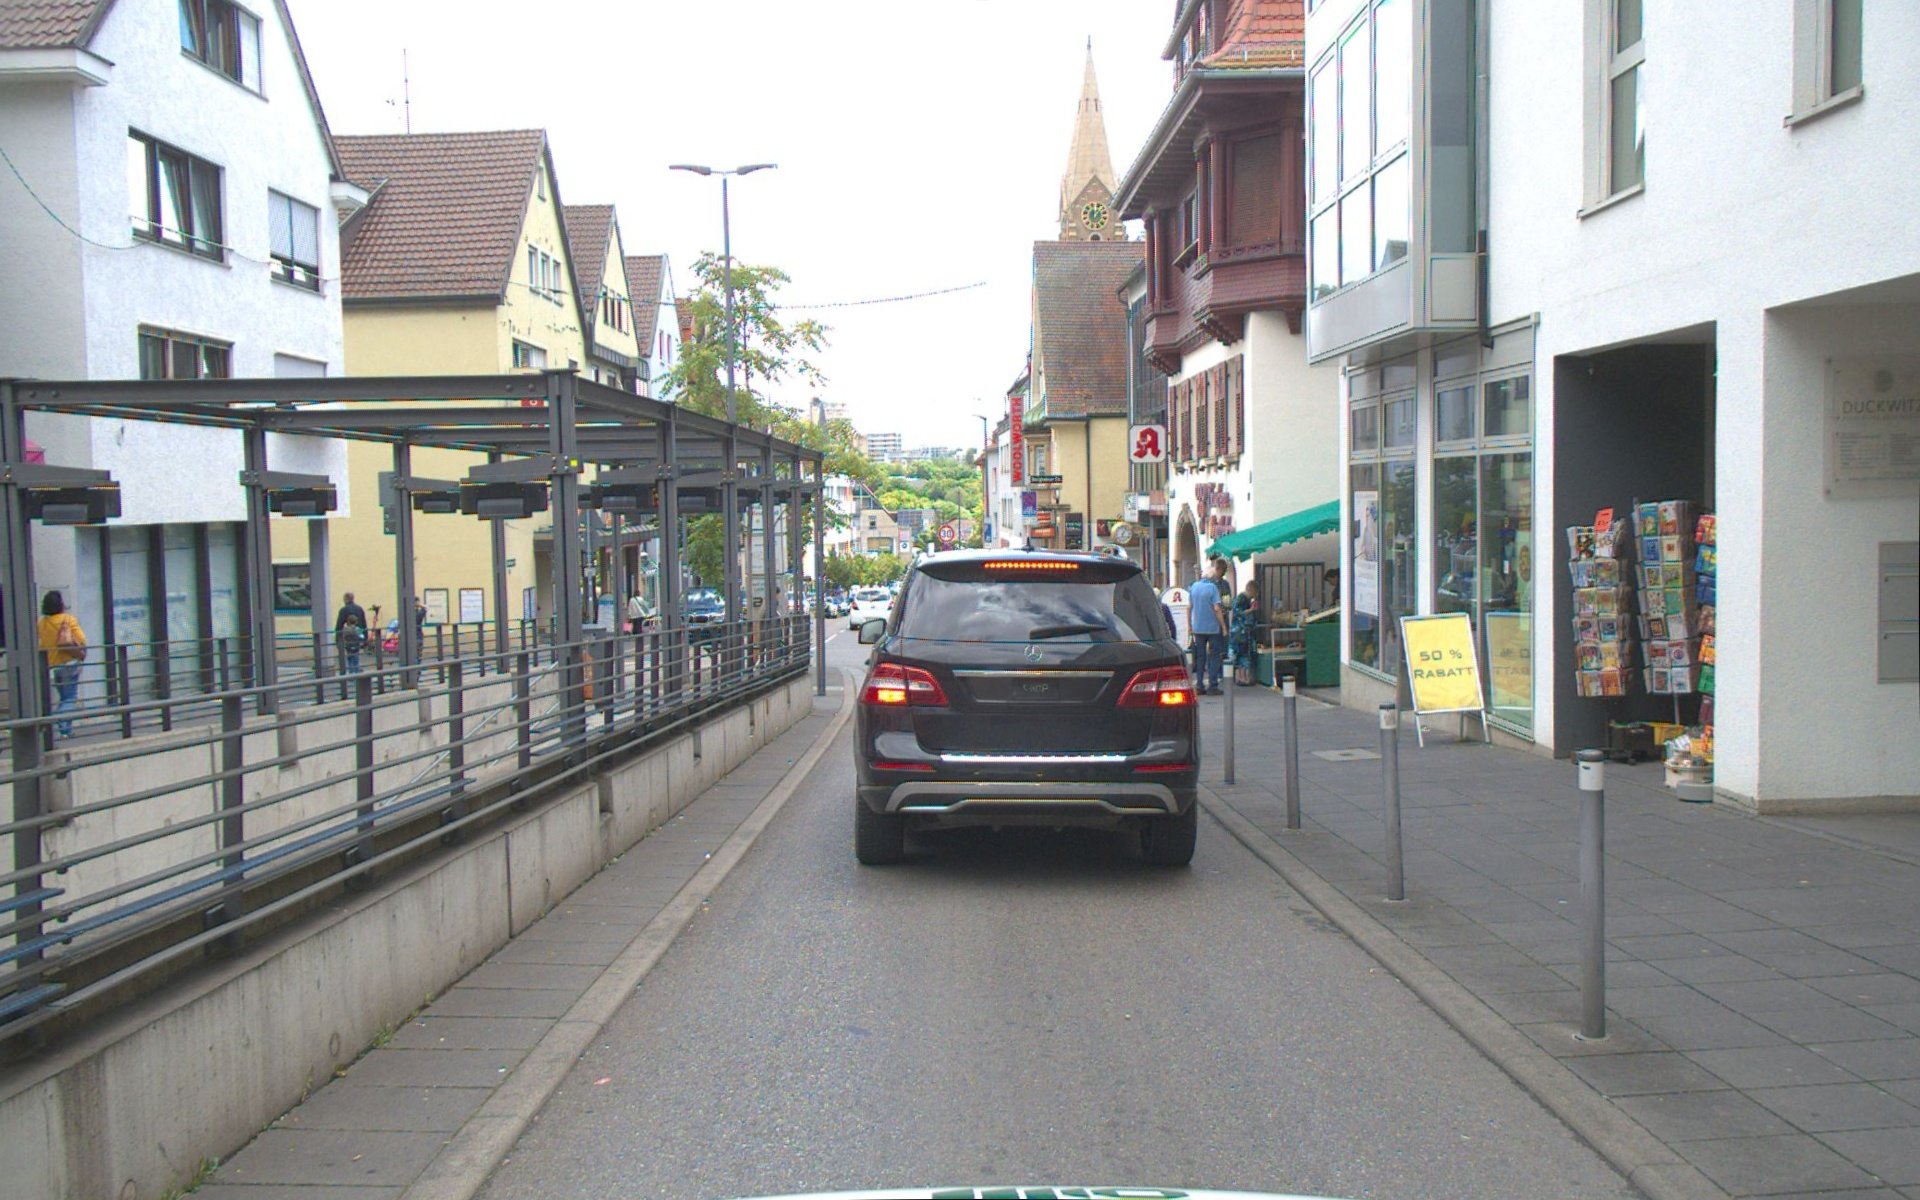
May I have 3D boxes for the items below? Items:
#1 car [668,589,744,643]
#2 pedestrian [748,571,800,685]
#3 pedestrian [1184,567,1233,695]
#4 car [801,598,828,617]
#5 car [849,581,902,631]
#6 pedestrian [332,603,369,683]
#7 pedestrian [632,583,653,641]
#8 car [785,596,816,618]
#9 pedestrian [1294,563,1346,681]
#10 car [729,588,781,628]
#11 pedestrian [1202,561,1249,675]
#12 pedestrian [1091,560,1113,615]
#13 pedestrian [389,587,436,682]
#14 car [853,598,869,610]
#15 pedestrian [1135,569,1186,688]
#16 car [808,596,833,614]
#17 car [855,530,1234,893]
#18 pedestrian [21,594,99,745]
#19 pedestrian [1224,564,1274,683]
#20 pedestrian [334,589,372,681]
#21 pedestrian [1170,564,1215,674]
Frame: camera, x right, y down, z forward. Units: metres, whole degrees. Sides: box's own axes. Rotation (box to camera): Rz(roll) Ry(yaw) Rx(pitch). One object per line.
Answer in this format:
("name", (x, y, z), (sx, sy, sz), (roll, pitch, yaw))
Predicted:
("car", (-7.554, 0.436, 49.496), (1.655, 1.516, 3.979), (1, 0, 0))
("pedestrian", (-2.869, 0.426, 25.472), (0.751, 1.718, 0.726), (1, 0, -9))
("pedestrian", (3.470, 0.430, 23.126), (0.531, 1.756, 0.527), (-1, 0, -7))
("car", (-8.876, 0.472, 101.327), (1.360, 1.089, 3.113), (-1, 0, 0))
("car", (-3.035, 0.207, 60.024), (1.734, 1.743, 3.999), (1, 0, -1))
("pedestrian", (-11.248, 0.787, 30.534), (0.447, 1.446, 0.533), (1, 0, 2))
("pedestrian", (-9.545, 0.361, 49.725), (0.502, 1.718, 0.541), (1, 0, -1))
("car", (-8.613, 0.376, 89.440), (1.360, 1.089, 3.113), (-1, 0, 0))
("pedestrian", (5.339, 0.320, 24.562), (0.562, 1.718, 0.565), (-1, 0, -7))
("car", (-8.262, 0.304, 66.795), (1.626, 1.516, 3.747), (1, 0, 0))
("pedestrian", (4.063, 0.278, 25.349), (0.562, 1.718, 0.565), (1, 0, -7))
("pedestrian", (4.517, -0.387, 52.724), (0.594, 1.718, 0.724), (-1, 0, -1))
("pedestrian", (-10.059, 0.630, 30.409), (0.613, 1.718, 0.679), (1, 0, -1))
("car", (-9.751, 0.407, 163.121), (1.360, 1.089, 3.113), (-1, 0, 0))
("pedestrian", (2.942, 0.416, 24.309), (0.609, 1.718, 0.565), (1, 0, -7))
("car", (-8.956, 0.345, 106.526), (1.360, 1.089, 3.113), (-1, 0, 0))
("car", (0.348, 0.546, 10.196), (1.862, 1.777, 3.998), (1, 0, -2))
("pedestrian", (-10.385, 0.789, 19.090), (0.566, 1.718, 0.576), (1, 0, -1))
("pedestrian", (4.265, 0.345, 24.409), (0.562, 1.718, 0.565), (-1, 0, -7))
("pedestrian", (-11.441, 0.651, 31.203), (0.601, 1.718, 0.561), (1, 0, -15))
("pedestrian", (3.966, 0.321, 28.230), (0.626, 1.841, 0.684), (1, 0, -1))
